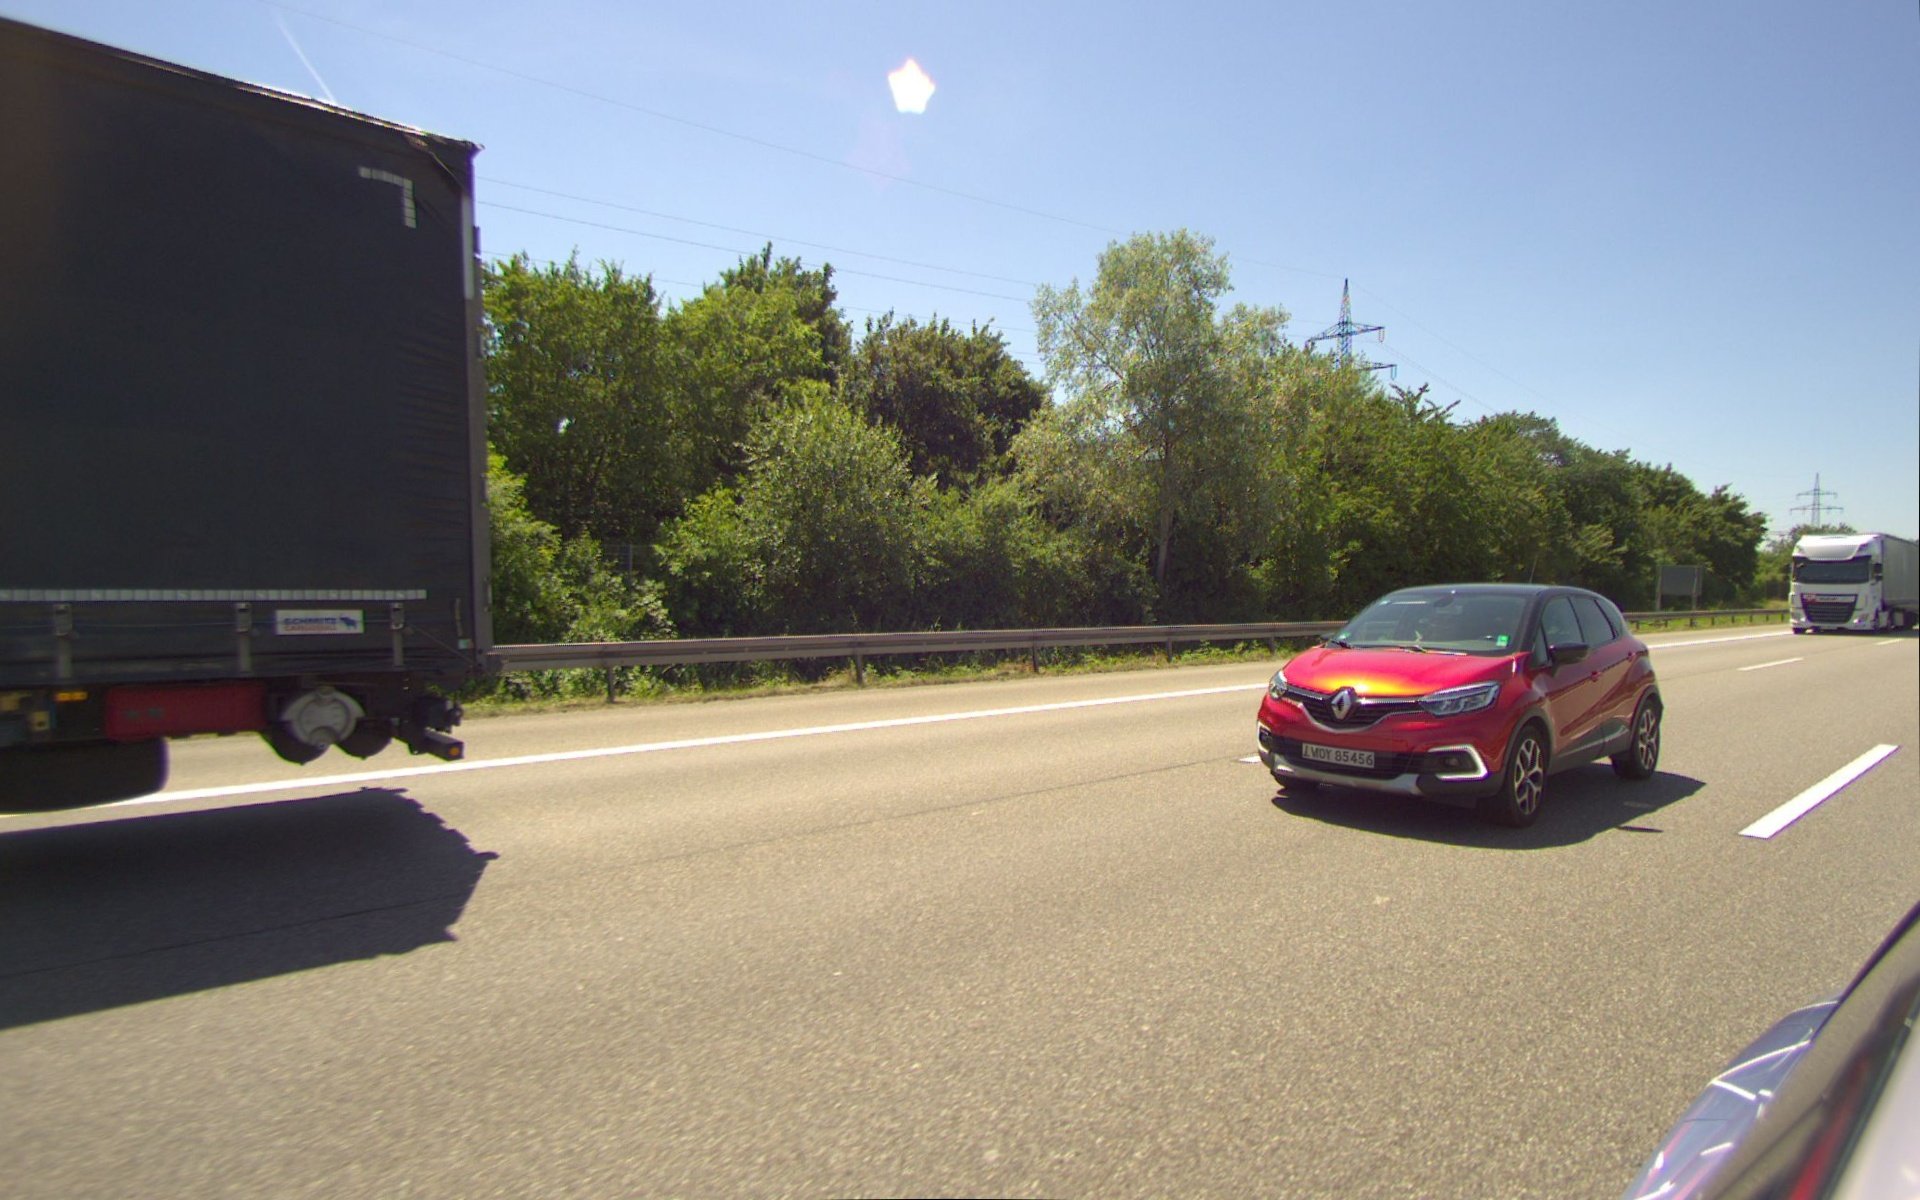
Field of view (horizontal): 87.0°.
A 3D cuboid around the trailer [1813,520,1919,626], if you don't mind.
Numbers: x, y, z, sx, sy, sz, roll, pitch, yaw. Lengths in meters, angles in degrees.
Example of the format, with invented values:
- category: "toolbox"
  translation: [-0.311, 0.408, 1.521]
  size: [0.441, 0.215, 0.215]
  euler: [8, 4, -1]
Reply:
- category: "trailer"
  translation: [41.224, -1.120, 45.227]
  size: [12.892, 4.158, 2.741]
  euler: [0, 1, -41]

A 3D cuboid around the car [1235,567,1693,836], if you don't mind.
- category: "car"
  translation: [4.045, 0.564, 7.859]
  size: [3.930, 1.565, 1.807]
  euler: [0, 1, -41]

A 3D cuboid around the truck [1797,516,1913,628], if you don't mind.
- category: "truck"
  translation: [36.207, -1.088, 40.881]
  size: [6.017, 4.171, 2.741]
  euler: [0, 1, -41]

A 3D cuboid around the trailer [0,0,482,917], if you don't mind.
- category: "trailer"
  translation: [-8.672, -0.699, 2.484]
  size: [13.336, 4.216, 2.794]
  euler: [0, 1, -41]
